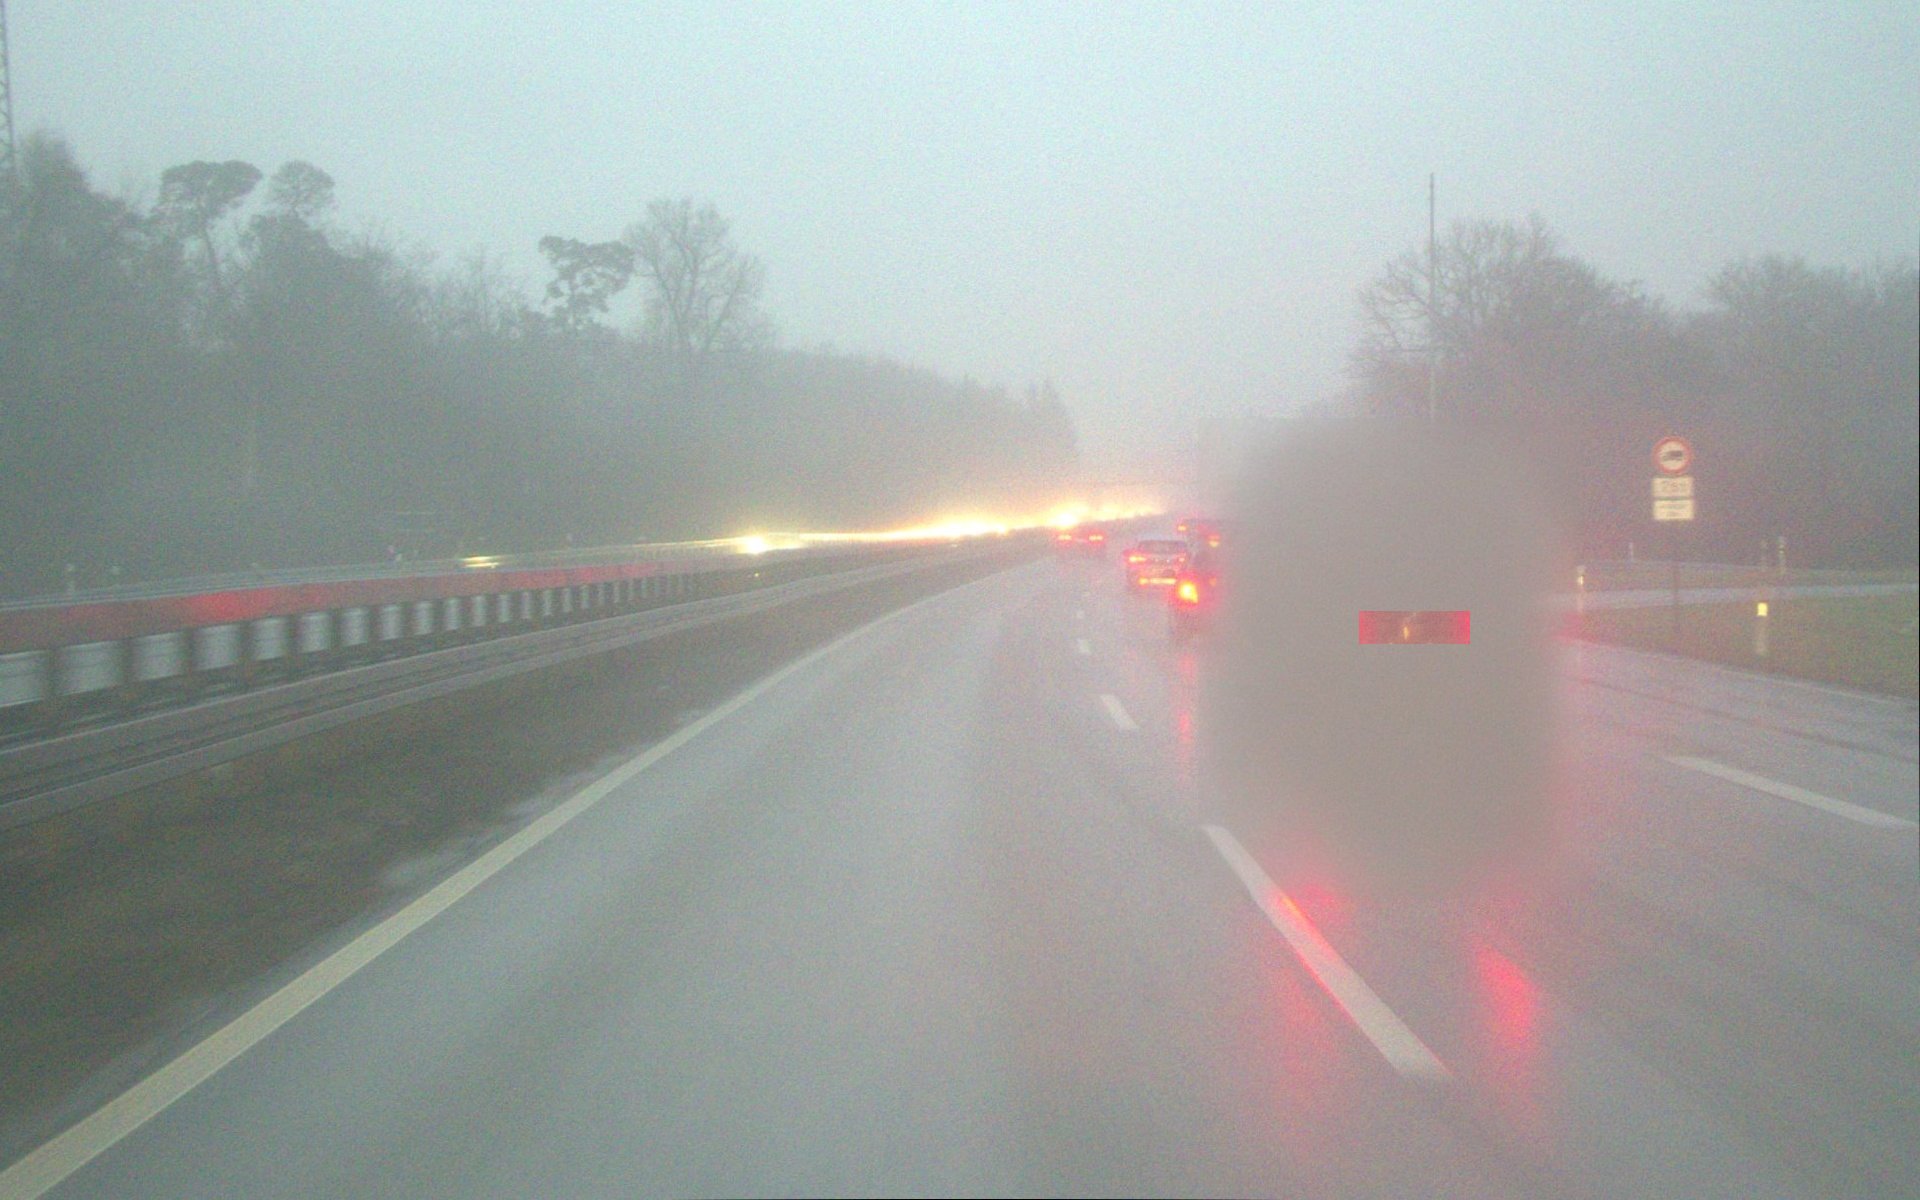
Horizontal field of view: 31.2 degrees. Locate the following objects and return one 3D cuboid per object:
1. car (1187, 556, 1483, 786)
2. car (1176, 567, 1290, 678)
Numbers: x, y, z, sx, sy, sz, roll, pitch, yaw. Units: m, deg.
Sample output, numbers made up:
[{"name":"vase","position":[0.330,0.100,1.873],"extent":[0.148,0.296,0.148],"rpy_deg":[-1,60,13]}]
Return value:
[{"name":"car","position":[2.668,0.456,25.219],"extent":[1.678,1.503,3.809],"rpy_deg":[0,2,-1]},{"name":"car","position":[3.971,0.303,50.033],"extent":[1.595,1.485,3.594],"rpy_deg":[0,2,5]}]
